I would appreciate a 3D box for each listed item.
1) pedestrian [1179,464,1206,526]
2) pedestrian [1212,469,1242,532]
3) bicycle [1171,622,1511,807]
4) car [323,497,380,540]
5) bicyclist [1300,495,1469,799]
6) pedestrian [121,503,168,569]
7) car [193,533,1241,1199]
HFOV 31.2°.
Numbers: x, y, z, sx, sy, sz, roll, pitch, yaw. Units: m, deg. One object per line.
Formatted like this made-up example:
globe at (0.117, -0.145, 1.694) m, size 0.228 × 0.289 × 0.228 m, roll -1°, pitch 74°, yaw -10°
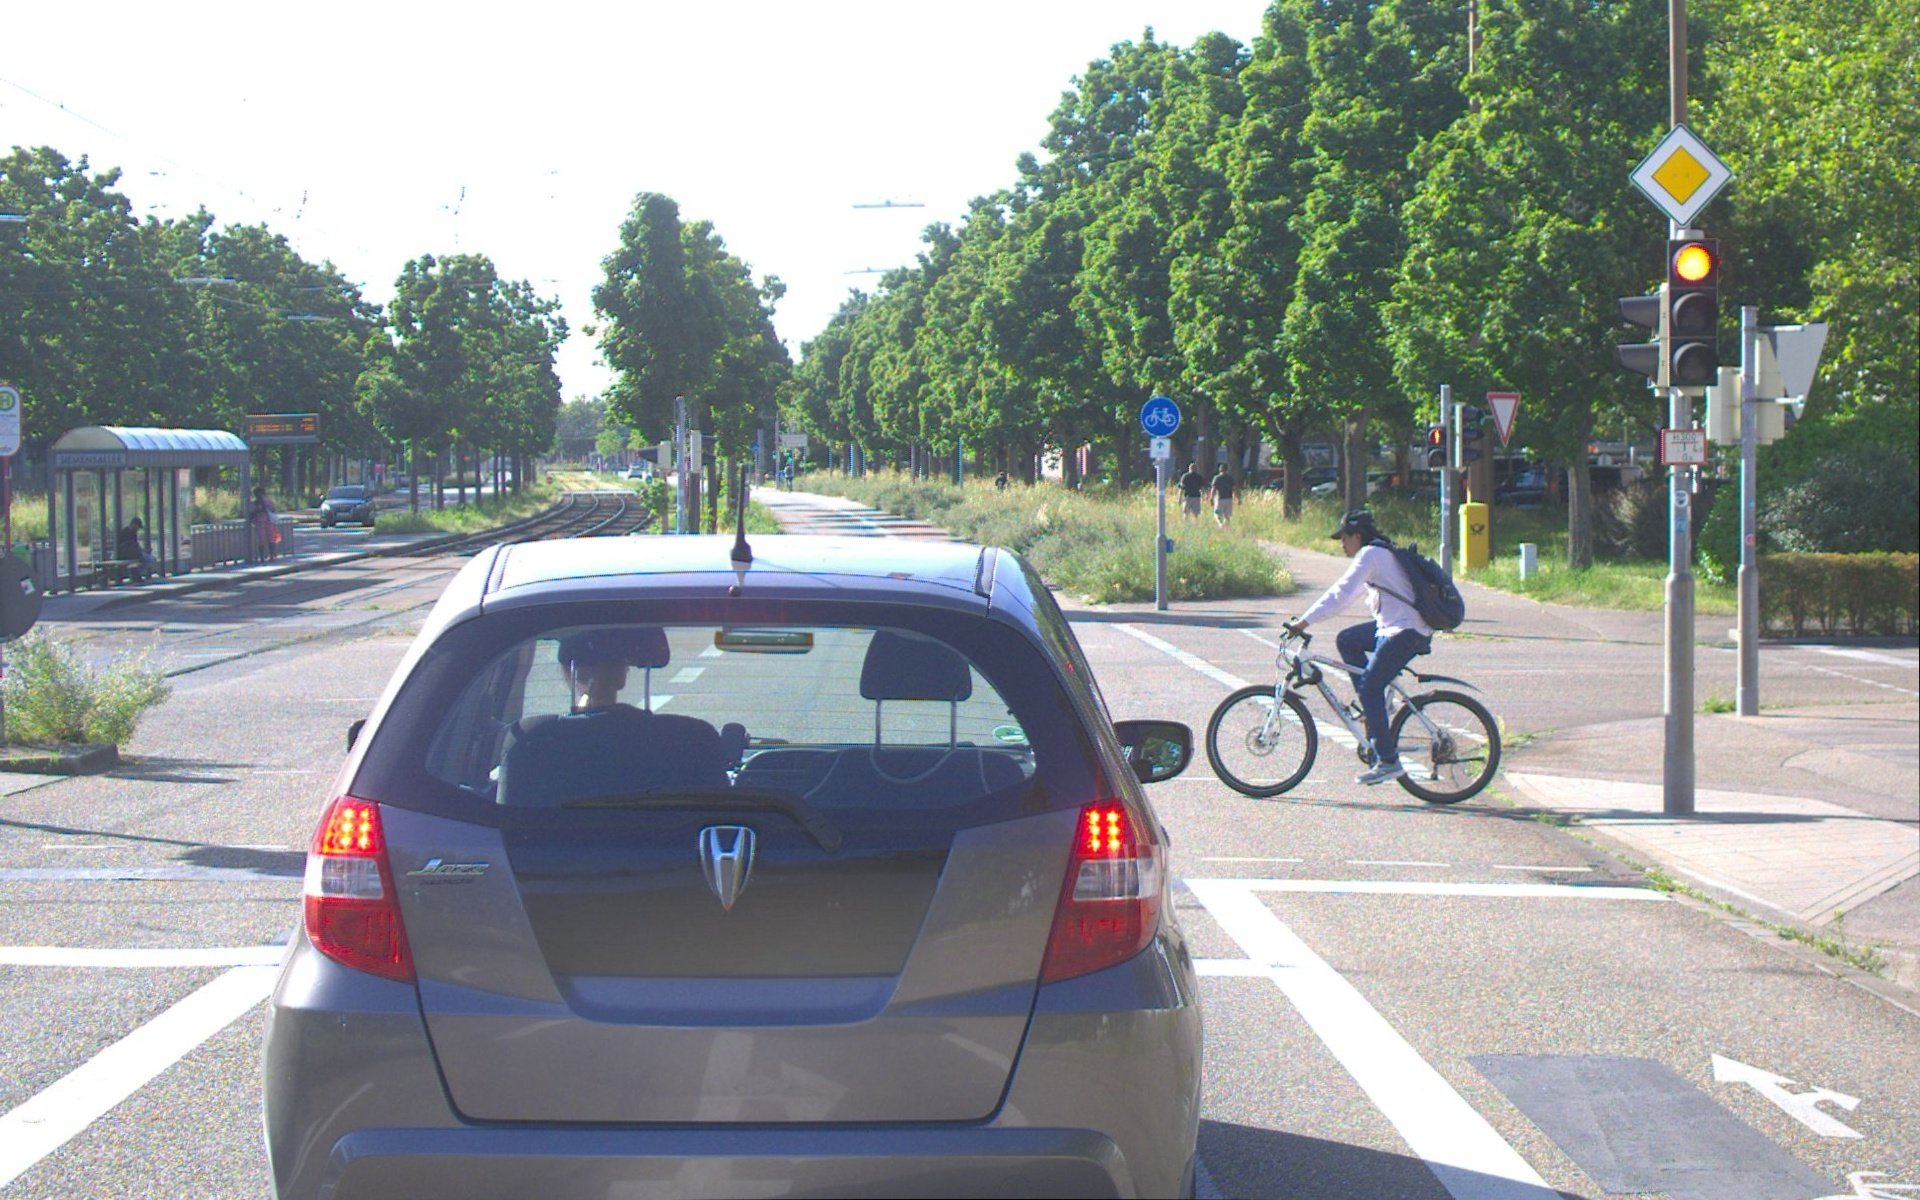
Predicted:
pedestrian at (6.049, -2.718, 89.435) m, size 0.567 × 1.591 × 0.666 m, roll 1°, pitch 1°, yaw -4°
pedestrian at (6.952, -2.586, 89.579) m, size 0.678 × 1.604 × 0.721 m, roll 1°, pitch 1°, yaw -3°
bicycle at (2.252, 0.658, 20.243) m, size 1.921 × 0.994 × 0.764 m, roll 1°, pitch 1°, yaw 10°
car at (-24.518, -3.273, 138.642) m, size 1.766 × 1.732 × 4.001 m, roll 0°, pitch 1°, yaw -3°
bicyclist at (2.502, 0.268, 20.197) m, size 0.910 × 1.739 × 0.764 m, roll -1°, pitch 1°, yaw 10°
pedestrian at (-15.562, -1.229, 65.631) m, size 0.721 × 1.241 × 0.711 m, roll -1°, pitch 1°, yaw -2°
car at (-0.402, 0.615, 7.641) m, size 1.707 × 1.503 × 4.000 m, roll 1°, pitch 1°, yaw 0°
